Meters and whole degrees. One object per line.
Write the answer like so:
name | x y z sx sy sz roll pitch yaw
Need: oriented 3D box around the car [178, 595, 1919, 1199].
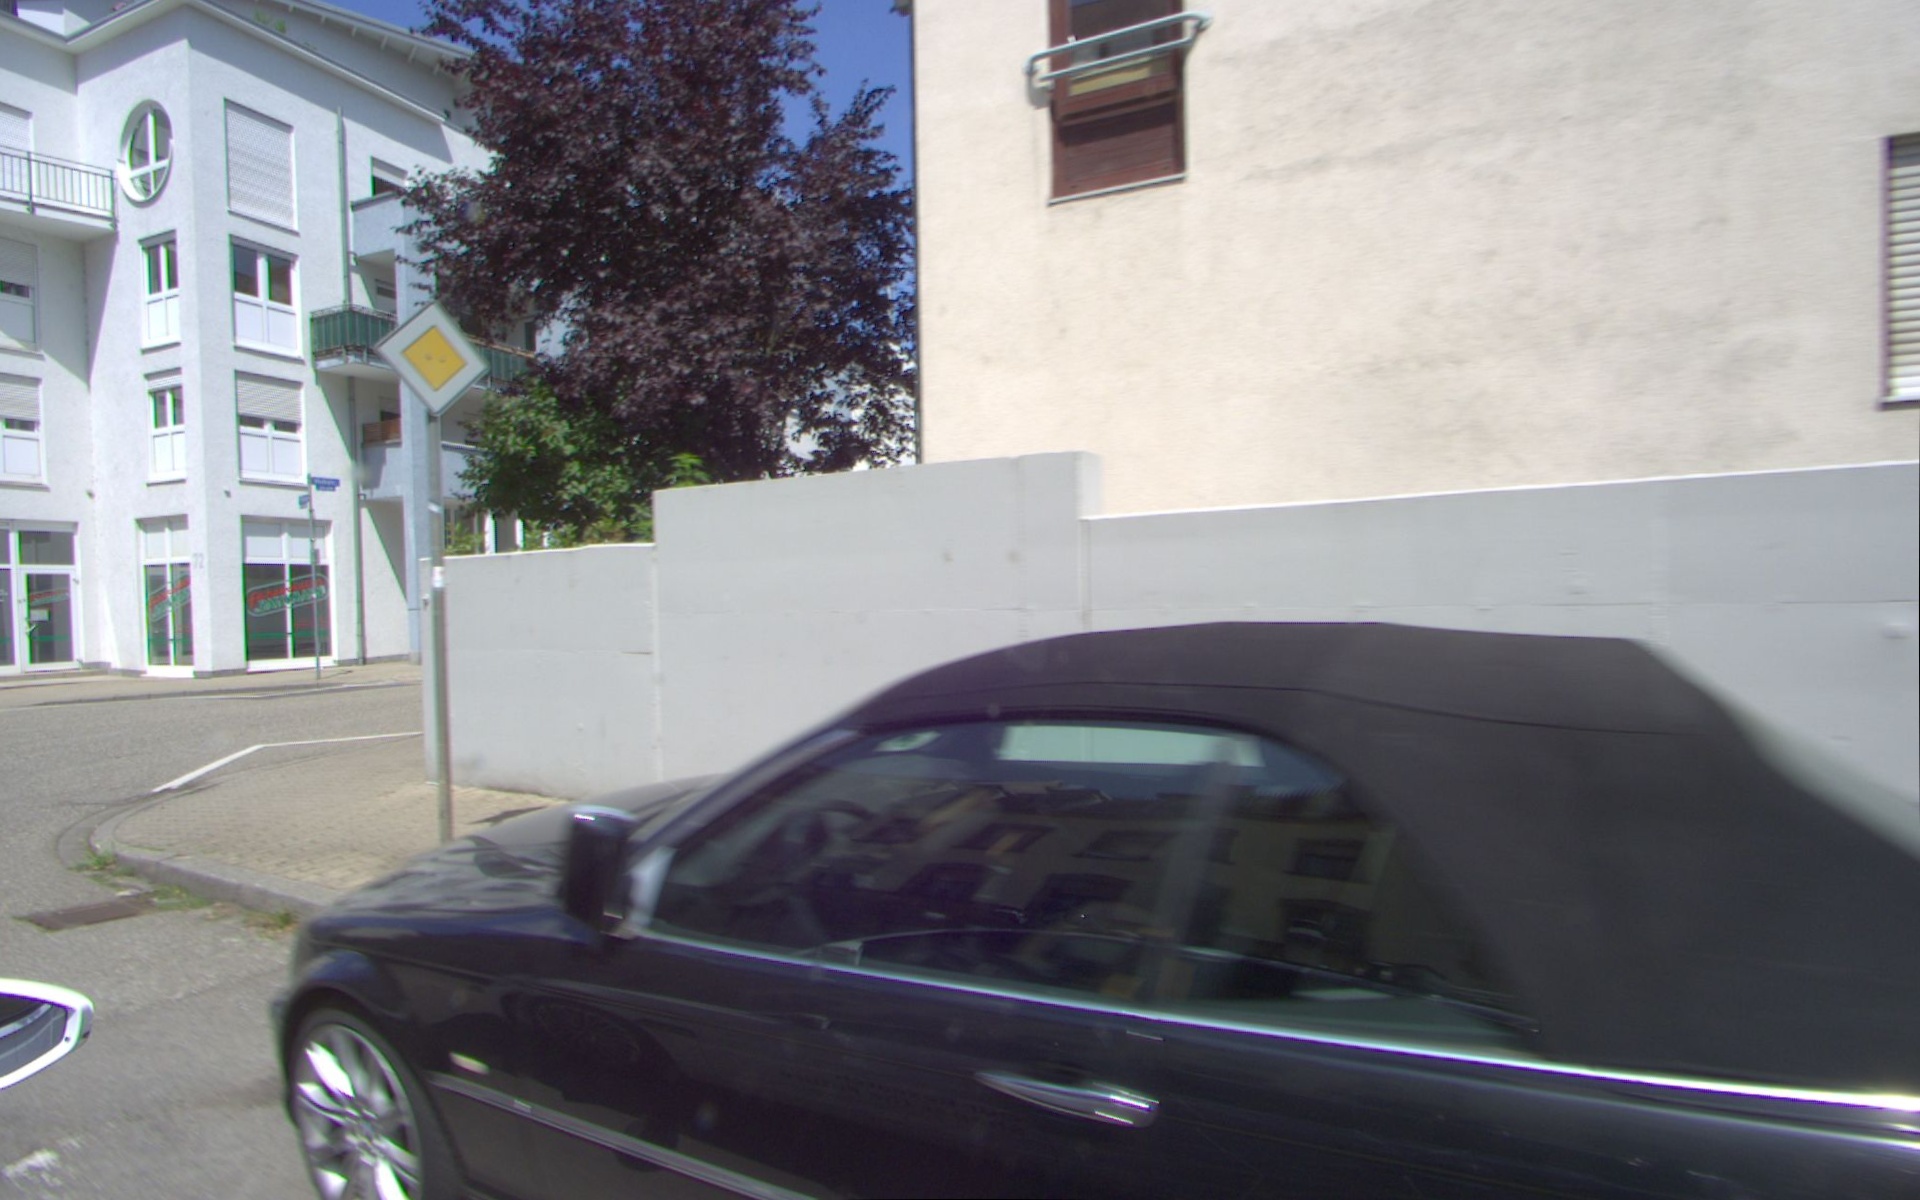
car | 0.305 0.717 2.149 4.175 1.394 1.654 -1 1 30
